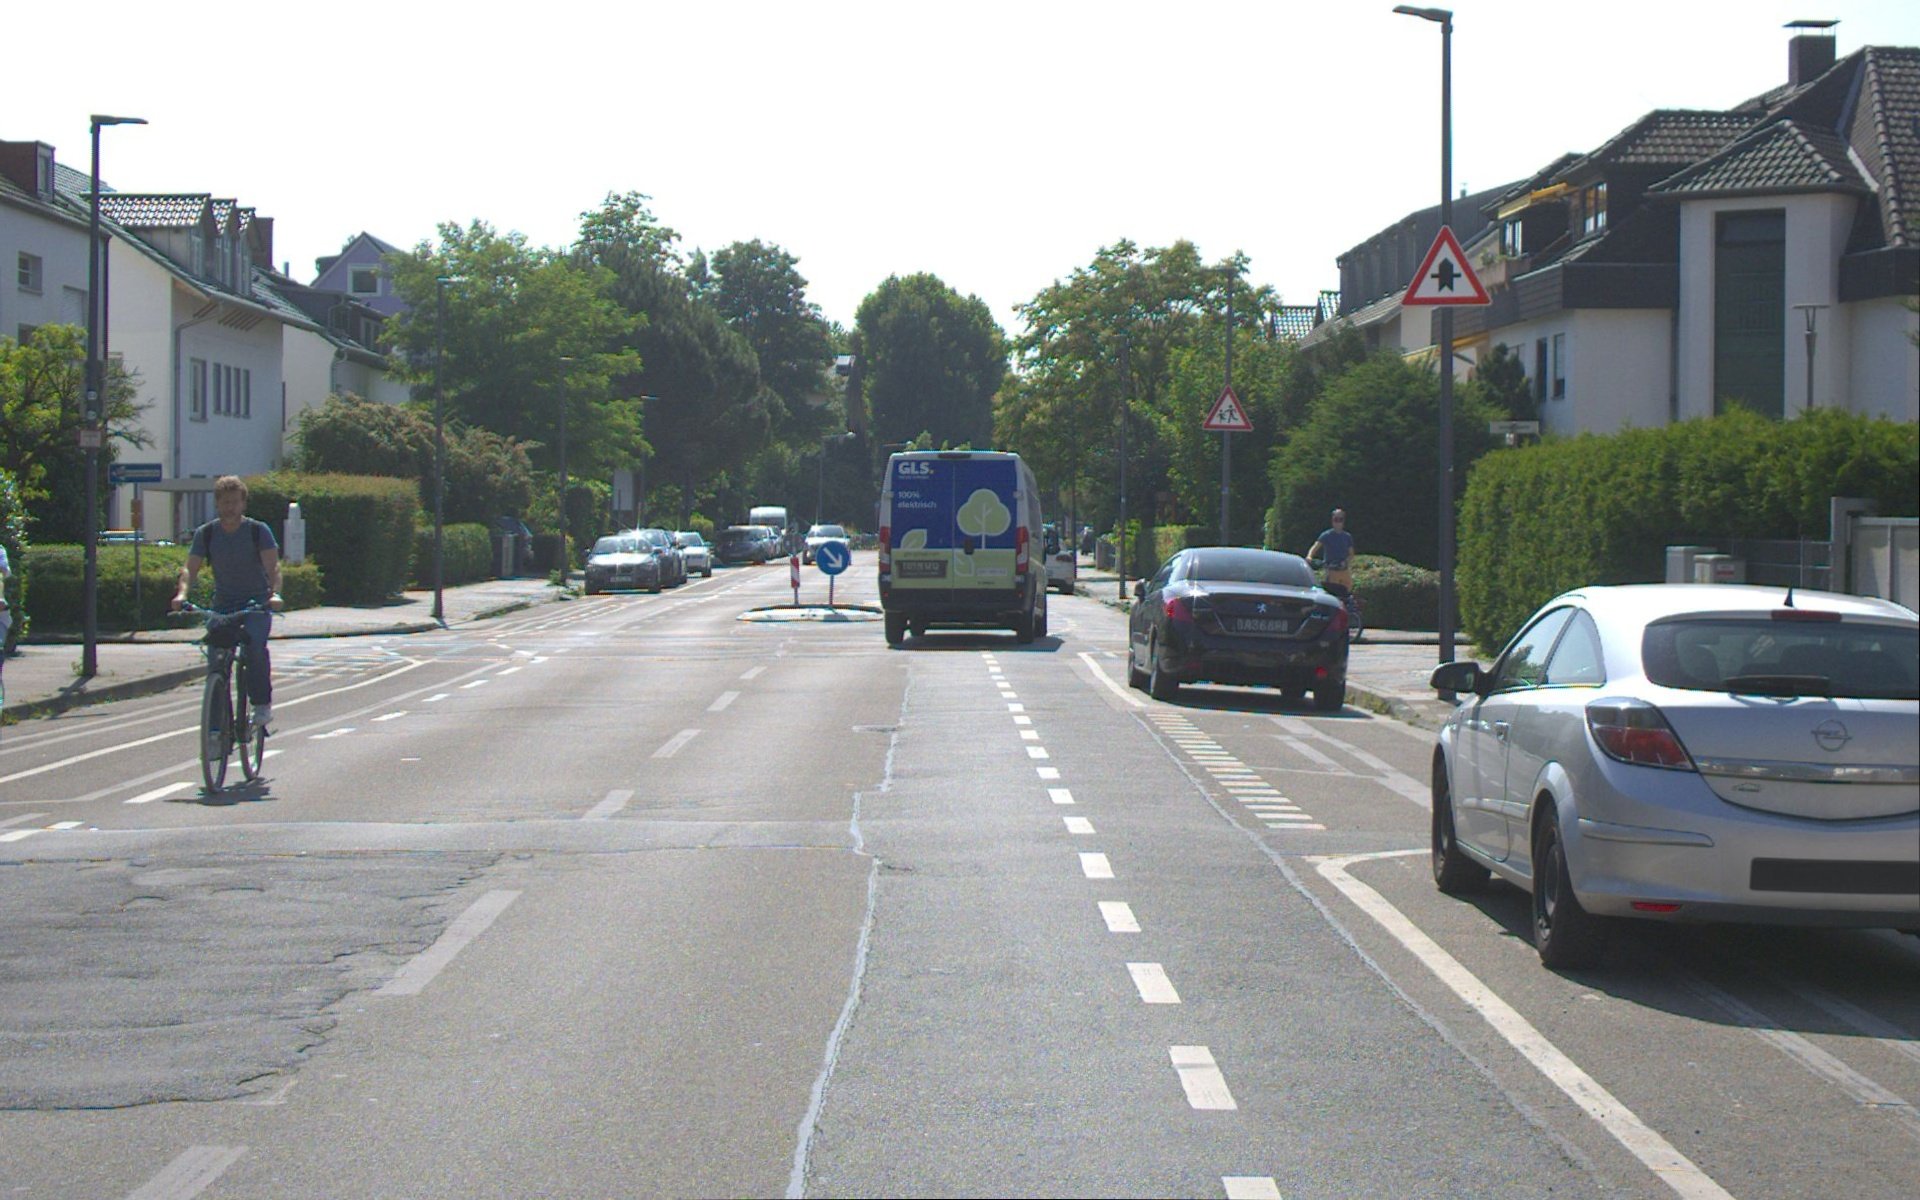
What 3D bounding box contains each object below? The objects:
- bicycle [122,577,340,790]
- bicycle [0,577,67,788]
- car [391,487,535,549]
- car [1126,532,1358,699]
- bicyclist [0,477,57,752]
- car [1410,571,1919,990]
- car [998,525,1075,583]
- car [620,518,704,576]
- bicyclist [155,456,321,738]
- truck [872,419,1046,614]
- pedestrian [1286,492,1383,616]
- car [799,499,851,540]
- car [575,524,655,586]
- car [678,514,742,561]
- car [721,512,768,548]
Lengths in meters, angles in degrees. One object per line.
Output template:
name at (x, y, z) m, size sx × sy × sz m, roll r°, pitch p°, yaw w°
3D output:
bicycle at (-4.391, 0.469, 20.881) m, size 0.782 × 1.162 × 2.420 m, roll -2°, pitch 1°, yaw 0°
bicycle at (-5.765, 0.481, 20.047) m, size 0.559 × 1.181 × 2.036 m, roll -2°, pitch 1°, yaw 0°
car at (-14.764, -2.441, 102.205) m, size 3.987 × 1.753 × 2.000 m, roll 1°, pitch 2°, yaw 0°
car at (2.602, 0.096, 32.616) m, size 1.736 × 1.324 × 4.260 m, roll 4°, pitch 1°, yaw 0°
bicyclist at (-5.766, 0.082, 20.142) m, size 0.676 × 1.575 × 0.859 m, roll -2°, pitch 1°, yaw 0°
car at (2.943, 0.604, 13.487) m, size 1.736 × 1.324 × 4.076 m, roll 4°, pitch 0°, yaw 0°
car at (1.924, -1.154, 87.652) m, size 1.740 × 1.397 × 4.074 m, roll 1°, pitch 0°, yaw -2°
car at (-7.854, -1.421, 90.943) m, size 1.785 × 1.435 × 4.111 m, roll -1°, pitch 2°, yaw 1°
bicyclist at (-4.404, -0.027, 21.030) m, size 0.749 × 1.662 × 1.022 m, roll -2°, pitch 1°, yaw 0°
truck at (0.029, -1.151, 47.763) m, size 2.272 × 2.562 × 4.392 m, roll 1°, pitch 1°, yaw 1°
pedestrian at (5.704, -0.706, 52.426) m, size 0.898 × 1.866 × 1.189 m, roll 0°, pitch 1°, yaw -34°
car at (-5.529, -3.316, 141.585) m, size 1.915 × 1.661 × 4.506 m, roll -1°, pitch 1°, yaw 0°
car at (-8.409, -1.125, 84.132) m, size 1.785 × 1.435 × 4.156 m, roll -1°, pitch 2°, yaw -4°
car at (-7.821, -1.982, 107.677) m, size 1.785 × 1.435 × 4.001 m, roll 0°, pitch 1°, yaw -1°
car at (-8.877, -2.895, 141.895) m, size 1.780 × 1.455 × 4.087 m, roll 0°, pitch 1°, yaw -2°
